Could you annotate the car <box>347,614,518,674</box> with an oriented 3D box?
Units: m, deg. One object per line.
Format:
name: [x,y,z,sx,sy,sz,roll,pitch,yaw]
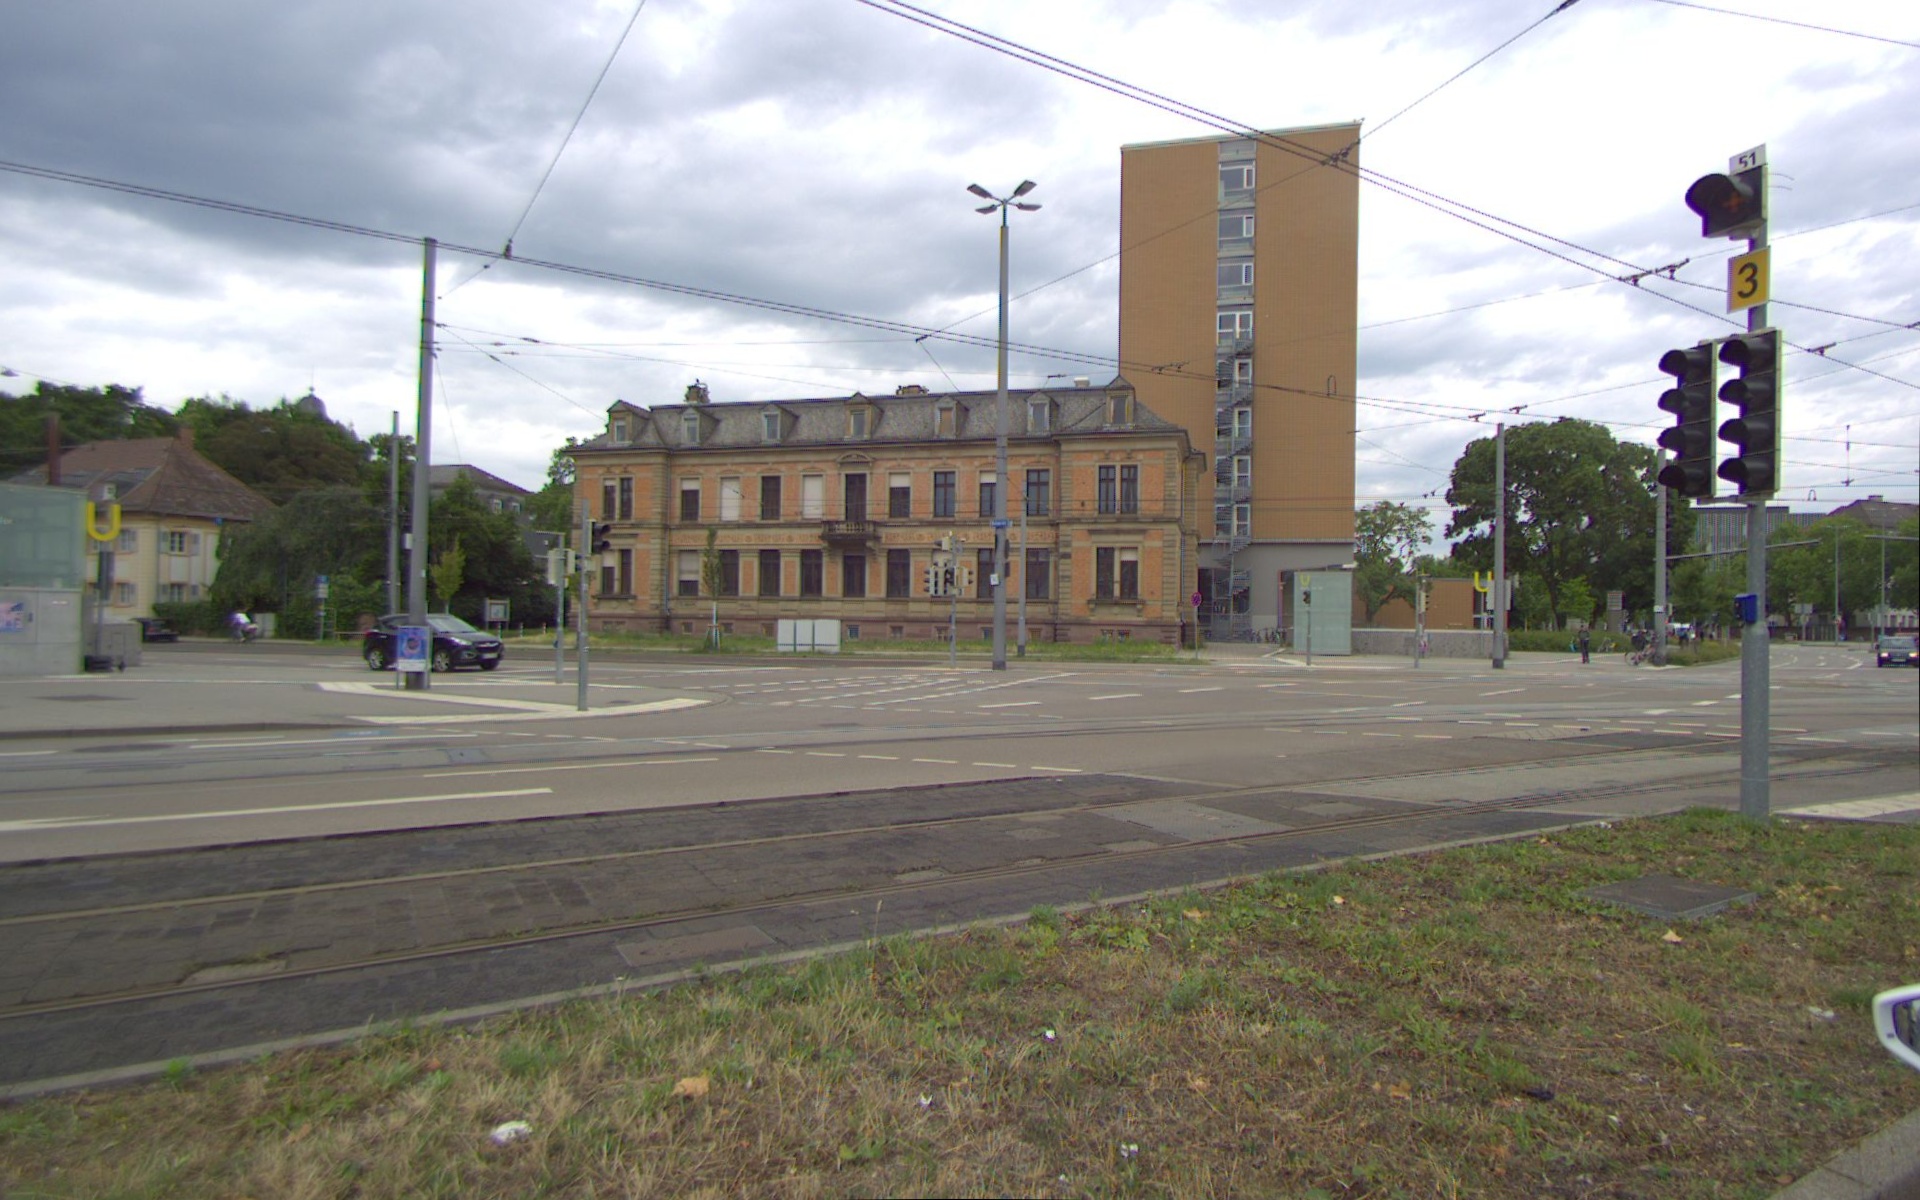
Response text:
car: [-15.535,1.270,29.662,4.159,1.632,2.001,1,-1,14]

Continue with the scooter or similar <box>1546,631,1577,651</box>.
scooter or similar: [40.621,2.748,67.849,1.744,1.319,0.629,0,-1,29]

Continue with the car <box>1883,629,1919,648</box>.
car: [88.956,3.608,94.782,1.965,1.795,3.991,0,-1,32]

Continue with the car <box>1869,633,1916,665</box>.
car: [47.401,2.471,51.123,1.600,1.535,3.646,-1,-2,41]

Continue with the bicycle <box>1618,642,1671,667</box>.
bicycle: [34.480,2.716,50.614,2.089,1.042,0.791,4,3,42]

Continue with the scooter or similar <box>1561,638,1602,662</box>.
scooter or similar: [31.540,2.555,50.988,1.872,1.180,0.573,1,-1,-9]

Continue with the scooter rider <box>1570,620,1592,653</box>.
scooter rider: [31.527,1.844,50.991,0.807,1.649,0.568,1,-1,-9]

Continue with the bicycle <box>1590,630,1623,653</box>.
bicycle: [43.706,2.801,67.871,2.223,1.468,0.844,1,-1,-25]

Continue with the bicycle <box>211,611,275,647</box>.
bicycle: [-36.798,1.484,51.542,3.024,1.773,1.086,0,-1,18]

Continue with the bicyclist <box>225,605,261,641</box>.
bicyclist: [-36.794,1.164,51.539,0.996,1.806,1.093,0,-1,17]

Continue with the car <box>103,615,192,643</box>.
car: [-44.797,1.579,55.385,3.920,1.450,2.001,0,-1,18]

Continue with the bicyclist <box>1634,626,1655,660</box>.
bicyclist: [34.492,2.172,50.603,0.803,1.679,0.790,0,0,41]

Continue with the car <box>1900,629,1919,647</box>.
car: [94.692,3.723,99.224,1.965,1.773,3.991,0,-1,32]

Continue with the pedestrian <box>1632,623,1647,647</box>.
pedestrian: [49.115,2.524,72.583,0.681,1.757,0.739,1,-1,-44]

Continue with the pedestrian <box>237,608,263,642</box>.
pedestrian: [-39.951,1.414,56.491,0.832,1.857,0.810,1,-1,13]
